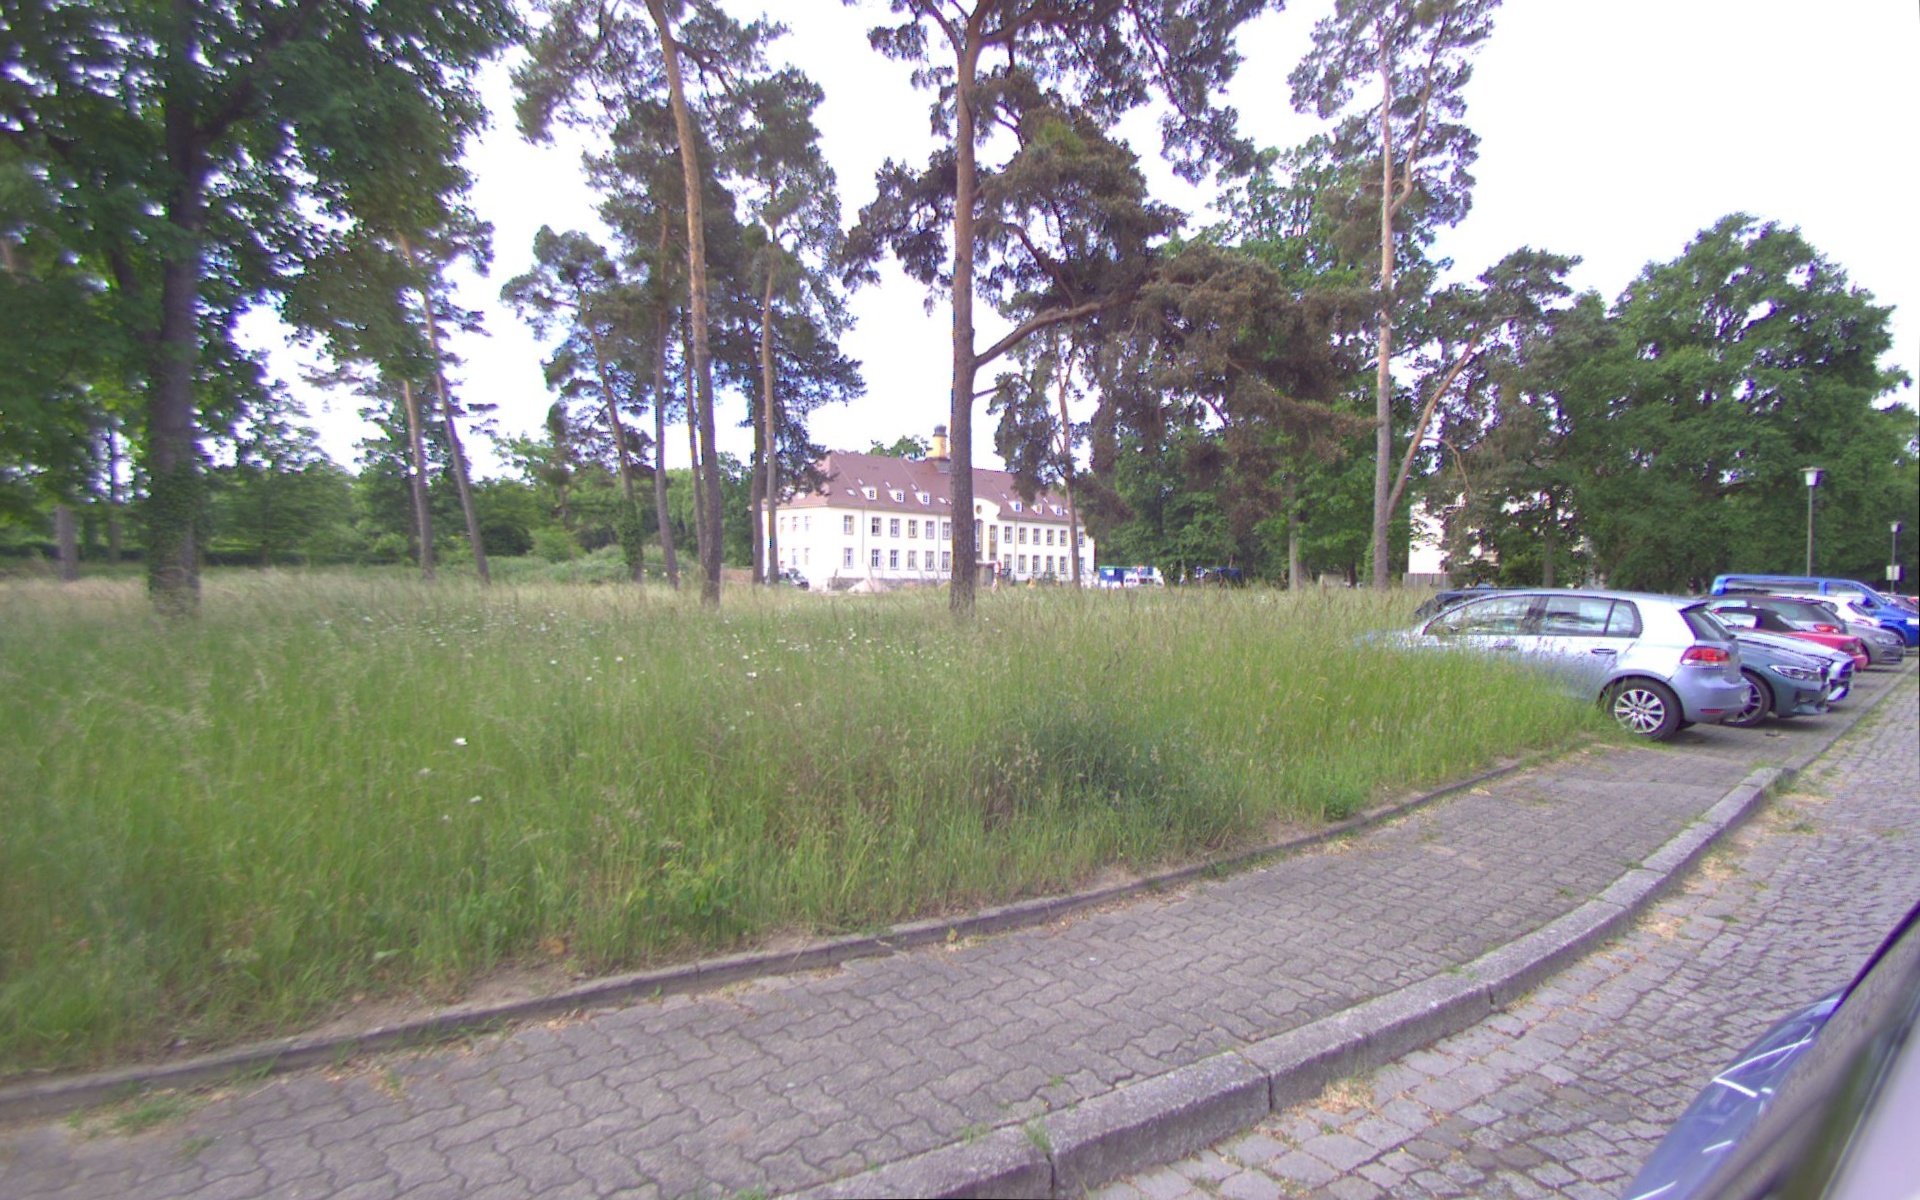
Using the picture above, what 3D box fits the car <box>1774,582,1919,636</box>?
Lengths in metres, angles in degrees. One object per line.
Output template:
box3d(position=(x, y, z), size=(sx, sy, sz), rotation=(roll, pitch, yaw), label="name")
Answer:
box3d(position=(29.663, 0.244, 33.481), size=(1.966, 1.630, 3.992), rotation=(0, 2, -42), label="car")

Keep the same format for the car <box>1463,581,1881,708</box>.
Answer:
box3d(position=(10.255, 0.511, 14.913), size=(1.782, 1.501, 4.763), rotation=(0, 2, -43), label="car")

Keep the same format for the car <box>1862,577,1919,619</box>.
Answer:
box3d(position=(47.600, -0.110, 50.256), size=(1.966, 2.038, 3.994), rotation=(0, 2, -41), label="car")

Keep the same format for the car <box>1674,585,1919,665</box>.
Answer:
box3d(position=(17.716, 0.450, 21.504), size=(1.788, 1.474, 3.847), rotation=(0, 2, -40), label="car")

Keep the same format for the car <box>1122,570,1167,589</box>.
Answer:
box3d(position=(20.555, -2.324, 112.710), size=(5.132, 2.038, 2.153), rotation=(-1, 2, -41), label="car")

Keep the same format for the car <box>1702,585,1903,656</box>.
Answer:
box3d(position=(19.570, 0.419, 23.591), size=(1.609, 1.470, 3.406), rotation=(0, 2, -42), label="car")

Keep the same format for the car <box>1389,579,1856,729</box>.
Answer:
box3d(position=(8.224, 0.525, 12.929), size=(4.758, 1.501, 1.734), rotation=(2, 2, 44), label="car")

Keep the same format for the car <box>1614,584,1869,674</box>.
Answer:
box3d(position=(15.304, 0.484, 19.933), size=(1.770, 1.524, 3.779), rotation=(0, 2, -45), label="car")

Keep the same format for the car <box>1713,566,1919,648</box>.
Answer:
box3d(position=(23.440, 0.133, 27.264), size=(1.967, 1.963, 4.743), rotation=(0, 3, -43), label="car")

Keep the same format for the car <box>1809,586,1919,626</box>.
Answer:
box3d(position=(36.857, 0.232, 40.665), size=(1.966, 1.549, 3.991), rotation=(0, 0, -42), label="car")

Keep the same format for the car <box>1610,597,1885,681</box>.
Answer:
box3d(position=(13.661, 0.612, 17.700), size=(1.469, 1.222, 3.597), rotation=(0, 1, -42), label="car")

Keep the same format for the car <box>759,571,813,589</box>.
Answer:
box3d(position=(-19.285, -2.260, 112.032), size=(6.165, 1.882, 2.307), rotation=(2, 2, 38), label="car")

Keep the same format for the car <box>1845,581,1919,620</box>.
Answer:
box3d(position=(44.306, 0.018, 47.451), size=(1.966, 1.784, 4.004), rotation=(0, 2, -41), label="car")

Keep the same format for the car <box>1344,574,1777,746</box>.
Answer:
box3d(position=(6.396, 0.511, 11.079), size=(1.579, 1.444, 3.768), rotation=(0, 3, -43), label="car")

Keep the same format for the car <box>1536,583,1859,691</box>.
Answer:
box3d(position=(11.856, 0.491, 16.458), size=(1.769, 1.470, 3.967), rotation=(0, 2, -43), label="car")
